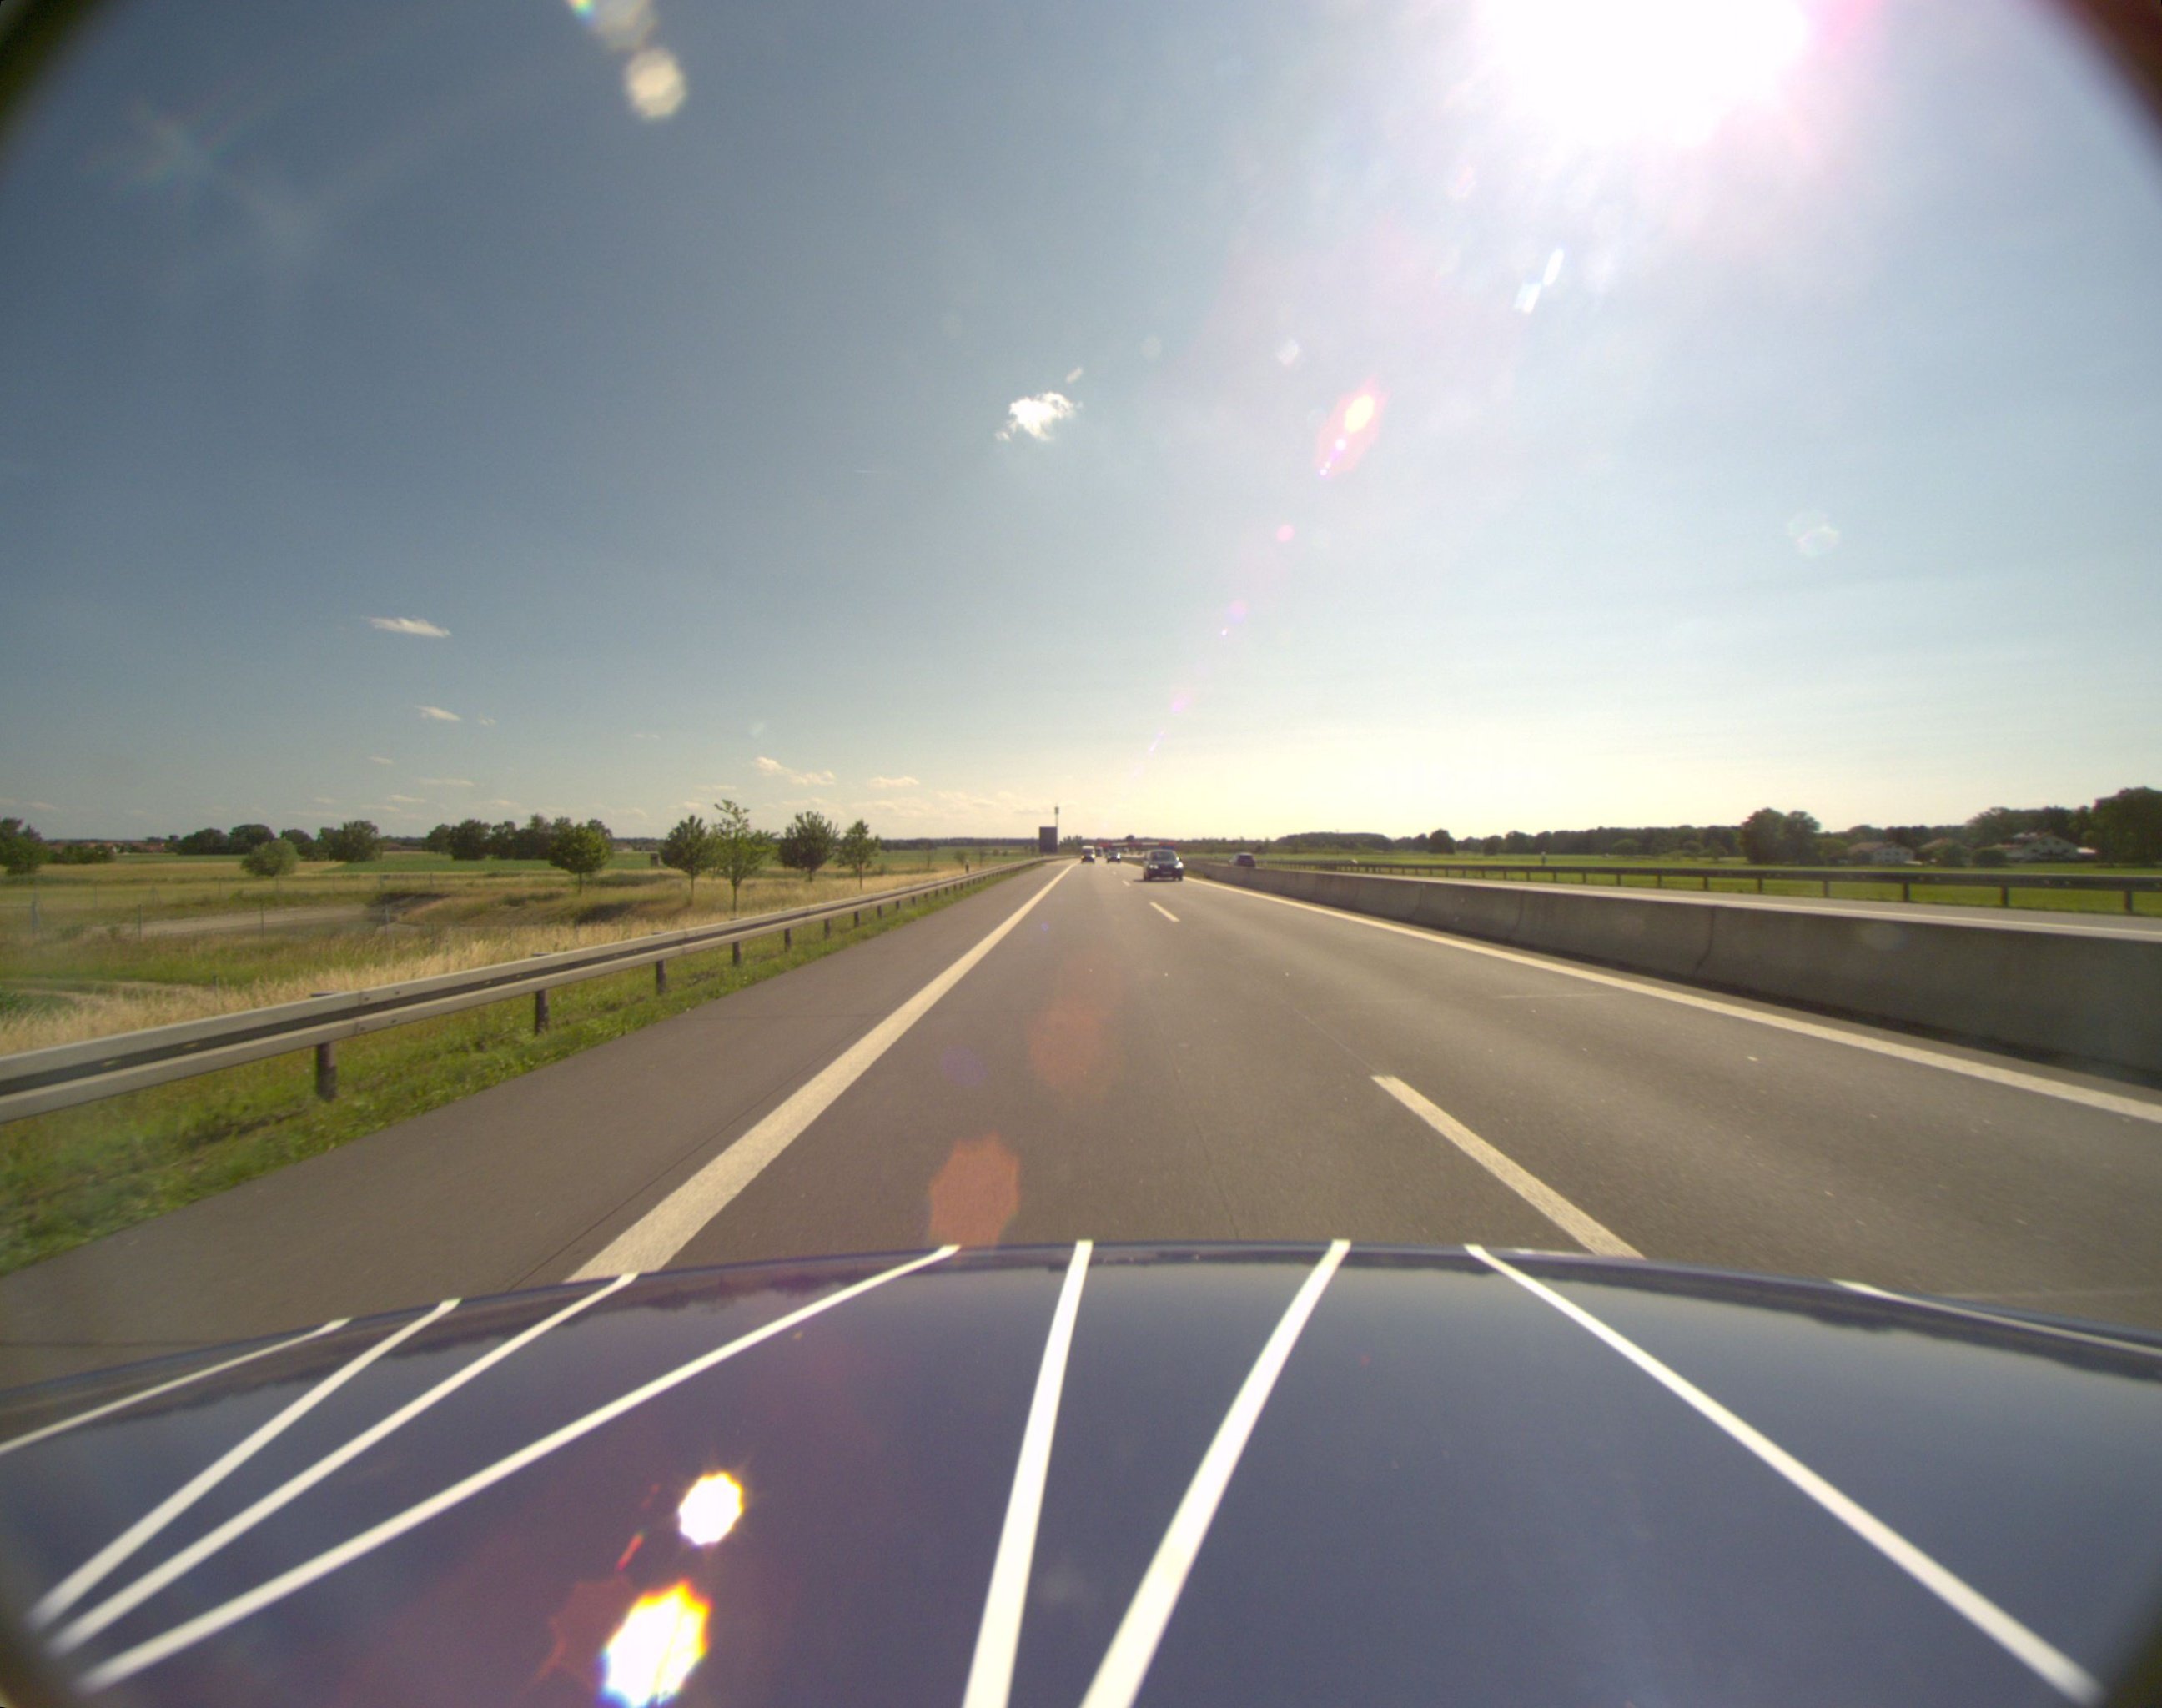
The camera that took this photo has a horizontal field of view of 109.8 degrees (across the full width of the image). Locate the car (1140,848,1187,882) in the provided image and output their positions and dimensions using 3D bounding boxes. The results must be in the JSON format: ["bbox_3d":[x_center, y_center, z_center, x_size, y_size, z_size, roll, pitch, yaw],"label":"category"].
[{"bbox_3d":[4.289,0.530,40.231,2.030,1.600,4.818,-1,1,1],"label":"car"}]

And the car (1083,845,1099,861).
[{"bbox_3d":[1.416,-0.171,103.719,2.030,2.225,4.818,1,1,2],"label":"car"}]

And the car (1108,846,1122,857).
[{"bbox_3d":[5.223,-0.431,116.961,2.030,1.600,4.818,-1,0,1],"label":"car"}]

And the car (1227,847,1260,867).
[{"bbox_3d":[14.841,0.290,69.648,1.912,1.675,5.007,-3,0,1],"label":"car"}]
